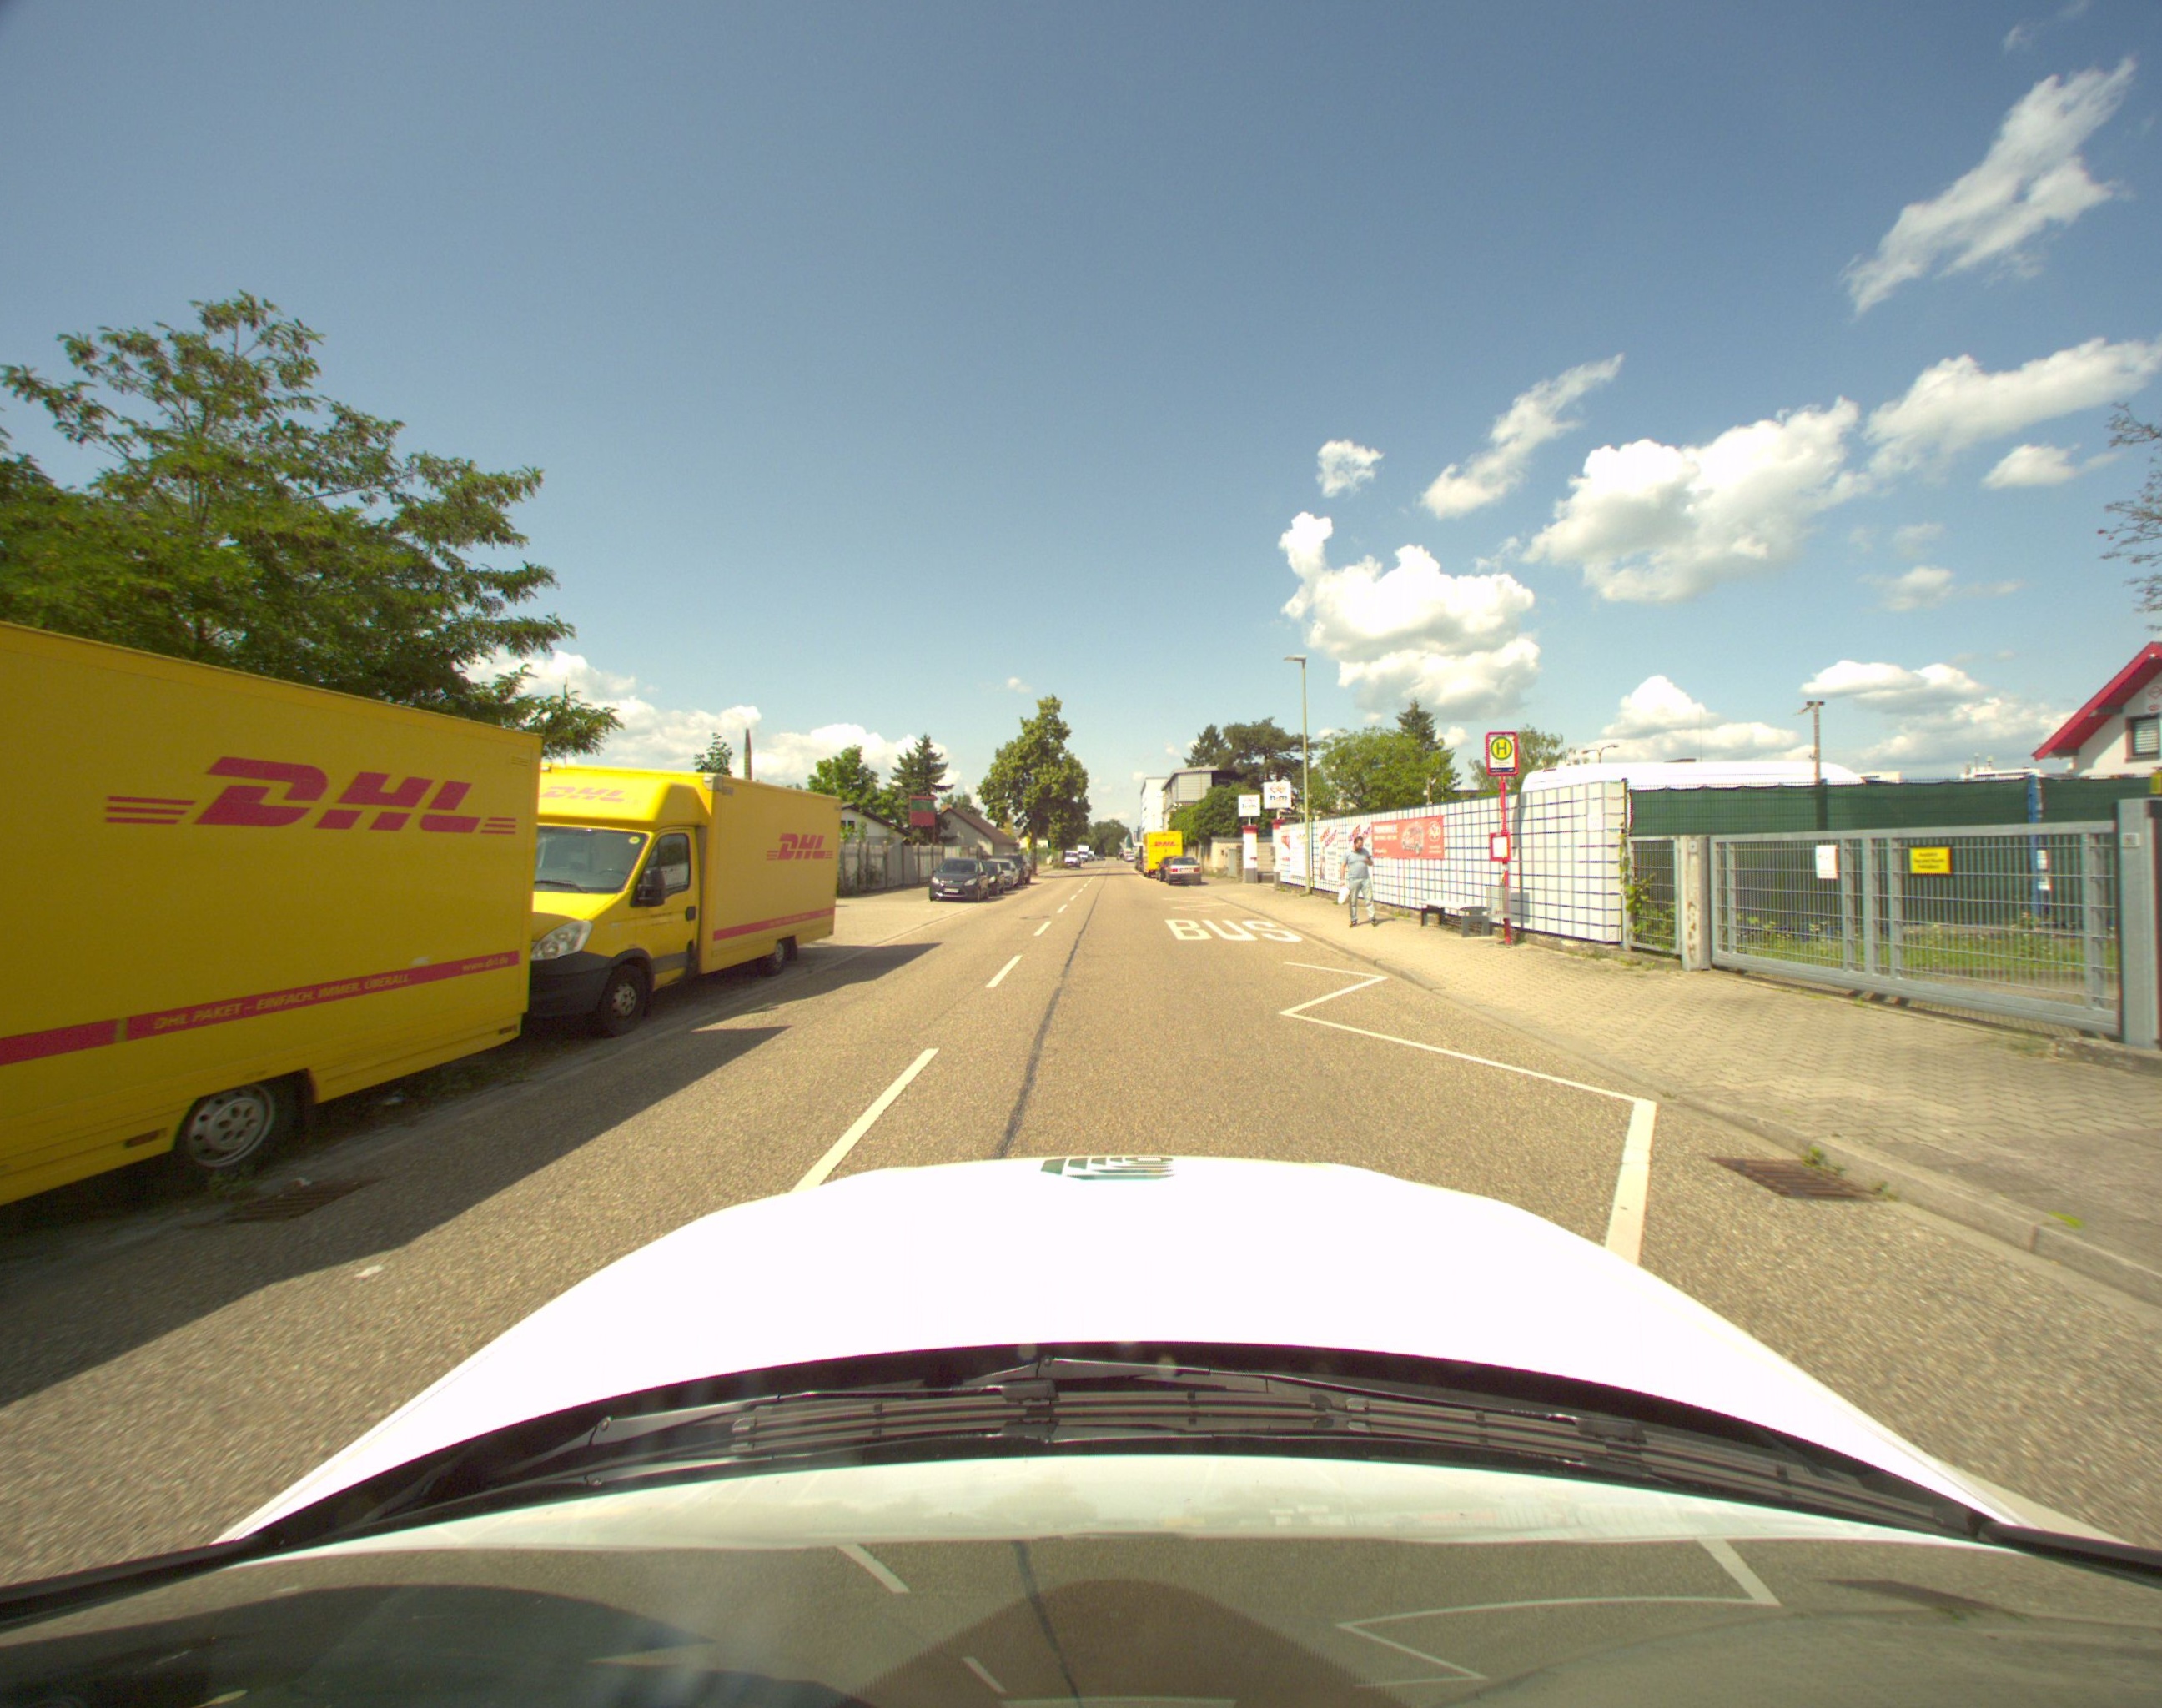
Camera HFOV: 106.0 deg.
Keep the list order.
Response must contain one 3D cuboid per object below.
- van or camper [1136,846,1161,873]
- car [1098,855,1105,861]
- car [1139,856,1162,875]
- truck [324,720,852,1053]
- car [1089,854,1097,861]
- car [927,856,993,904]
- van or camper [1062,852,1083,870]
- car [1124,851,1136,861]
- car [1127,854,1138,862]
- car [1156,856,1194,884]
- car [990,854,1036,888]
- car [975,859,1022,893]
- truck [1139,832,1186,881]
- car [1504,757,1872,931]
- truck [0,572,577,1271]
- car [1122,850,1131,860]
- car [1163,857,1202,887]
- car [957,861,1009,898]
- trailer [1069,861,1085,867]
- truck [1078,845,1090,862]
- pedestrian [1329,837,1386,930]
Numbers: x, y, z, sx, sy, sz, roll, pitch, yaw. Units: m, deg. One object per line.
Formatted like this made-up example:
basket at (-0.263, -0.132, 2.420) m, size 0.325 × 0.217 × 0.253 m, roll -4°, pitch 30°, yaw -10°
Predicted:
van or camper at (6.008, 0.484, 73.178) m, size 1.986 × 2.291 × 5.451 m, roll 0°, pitch 0°, yaw 2°
car at (5.087, 0.937, 199.443) m, size 1.648 × 1.324 × 4.419 m, roll -1°, pitch 0°, yaw 2°
car at (5.712, 0.921, 67.325) m, size 1.675 × 1.442 × 4.769 m, roll 0°, pitch 0°, yaw 2°
truck at (-5.321, 0.280, 10.687) m, size 2.307 × 2.862 × 7.108 m, roll 1°, pitch 0°, yaw 2°
car at (2.883, 0.763, 198.034) m, size 1.706 × 1.650 × 4.002 m, roll -1°, pitch 0°, yaw 2°
car at (-4.464, 0.926, 30.623) m, size 1.718 × 1.604 × 4.414 m, roll 2°, pitch 0°, yaw 1°
van or camper at (-1.110, 0.979, 113.122) m, size 2.163 × 2.413 × 7.709 m, roll -1°, pitch 0°, yaw 5°
car at (9.484, 0.358, 159.204) m, size 2.207 × 2.013 × 5.488 m, roll -1°, pitch 0°, yaw 2°
car at (9.131, 0.673, 145.343) m, size 1.921 × 1.310 × 4.002 m, roll -1°, pitch 0°, yaw 2°
car at (5.253, 0.858, 45.938) m, size 1.656 × 1.441 × 4.283 m, roll -1°, pitch 0°, yaw 1°
car at (-3.862, 0.919, 46.955) m, size 1.910 × 1.822 × 4.791 m, roll -1°, pitch 0°, yaw 4°
car at (-4.113, 1.045, 41.208) m, size 1.727 × 1.518 × 4.744 m, roll 1°, pitch 0°, yaw 2°
truck at (5.195, 0.165, 53.036) m, size 2.465 × 2.940 × 7.190 m, roll 0°, pitch 0°, yaw 1°
car at (10.160, -0.181, 13.872) m, size 4.899 × 2.652 × 2.069 m, roll -1°, pitch 0°, yaw -6°
truck at (-5.545, 0.273, 3.354) m, size 2.260 × 2.855 × 7.176 m, roll 0°, pitch -1°, yaw 2°
car at (9.487, 0.244, 169.749) m, size 1.701 × 2.090 × 4.002 m, roll -1°, pitch 0°, yaw 2°
car at (5.101, 0.897, 41.386) m, size 1.645 × 1.387 × 4.425 m, roll 0°, pitch 0°, yaw 2°
car at (-4.253, 1.075, 35.852) m, size 1.622 × 1.448 × 4.027 m, roll 3°, pitch 0°, yaw 1°
trailer at (-0.654, 1.776, 143.589) m, size 2.407 × 0.813 × 5.541 m, roll 1°, pitch 0°, yaw 3°
truck at (0.608, -0.082, 157.630) m, size 2.021 × 3.154 × 6.504 m, roll -1°, pitch 0°, yaw 2°
pedestrian at (5.333, 0.555, 15.731) m, size 0.714 × 1.697 × 0.522 m, roll -6°, pitch 0°, yaw -3°
